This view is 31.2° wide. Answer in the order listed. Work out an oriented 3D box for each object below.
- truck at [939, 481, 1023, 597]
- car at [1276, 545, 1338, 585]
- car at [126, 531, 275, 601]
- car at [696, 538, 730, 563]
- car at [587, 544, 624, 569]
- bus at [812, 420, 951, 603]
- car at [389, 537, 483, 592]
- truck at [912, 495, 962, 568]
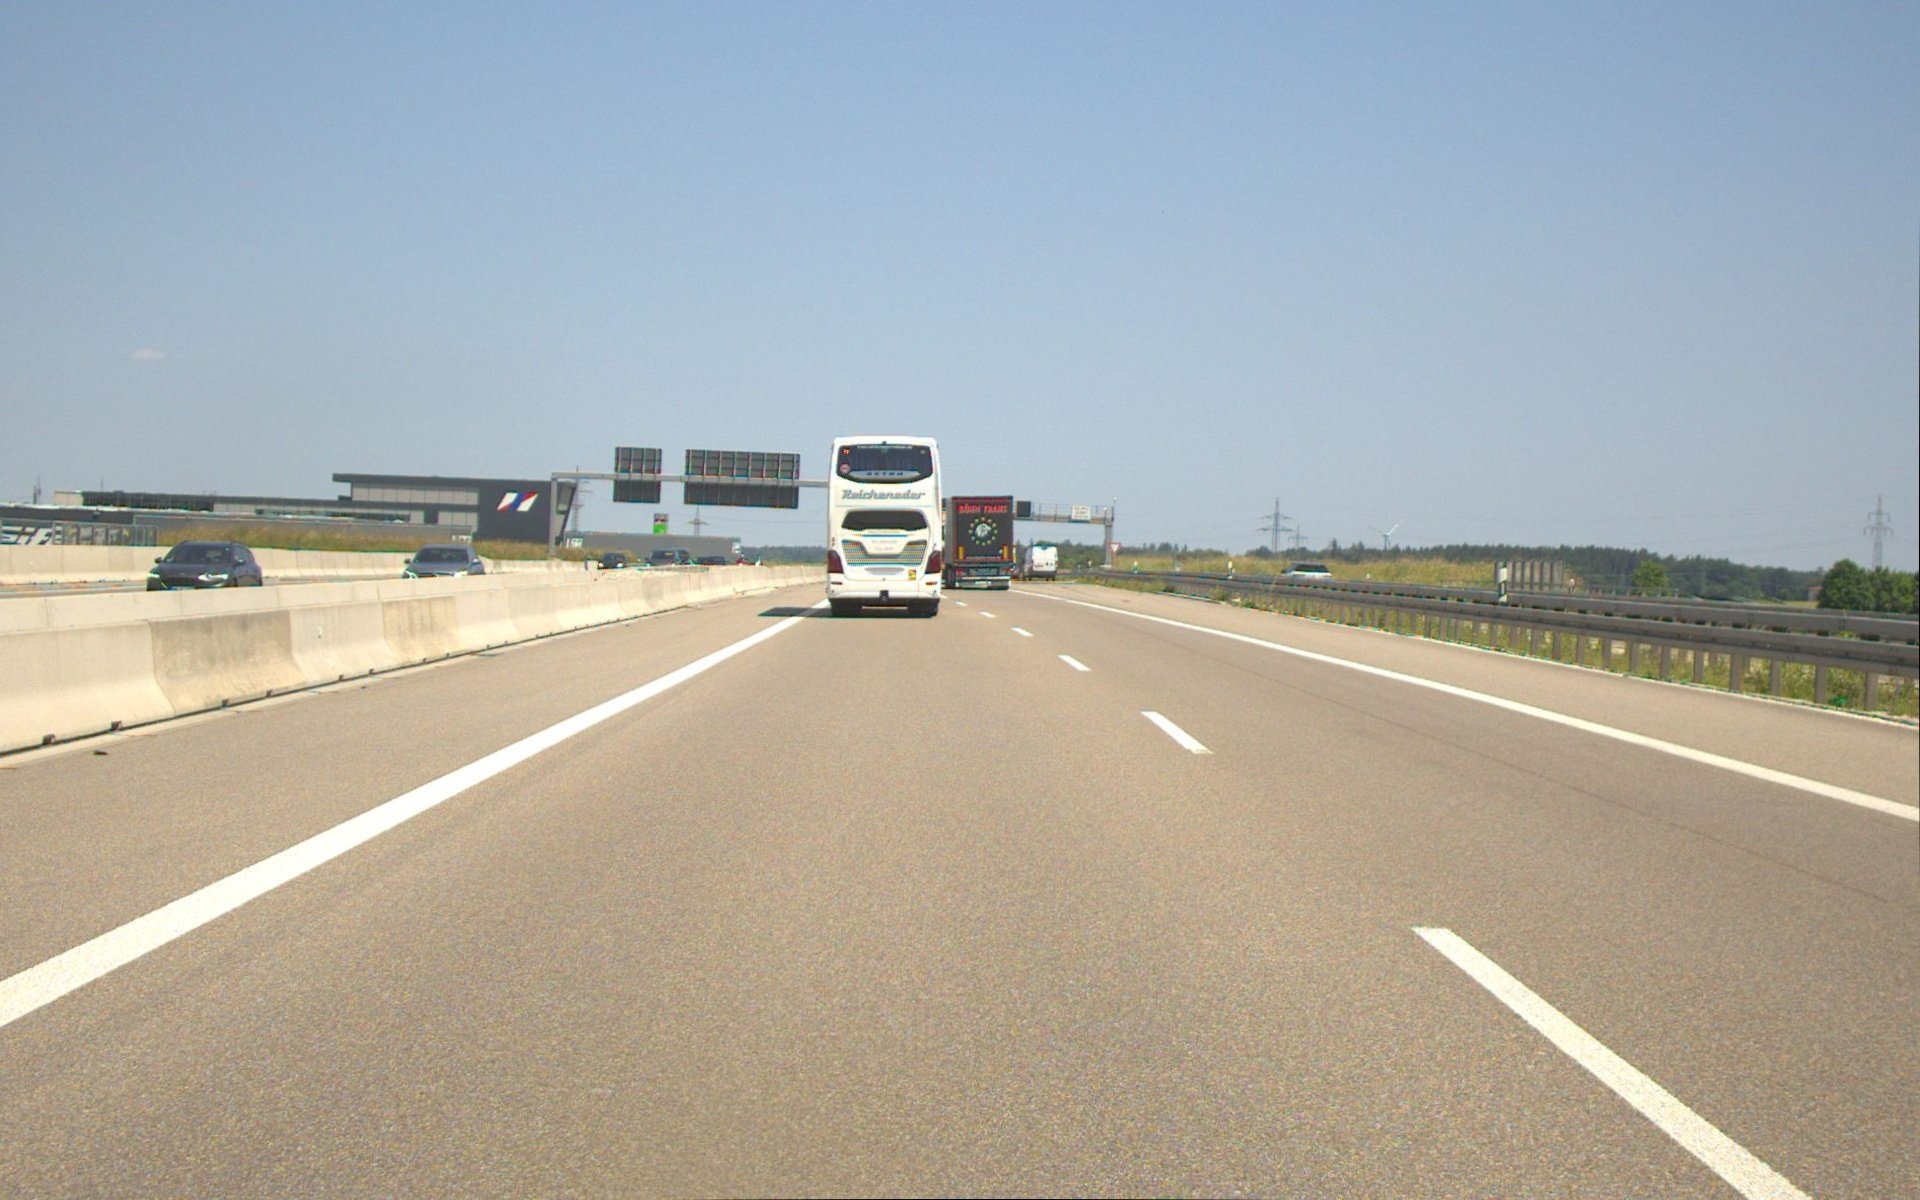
[{"bbox_3d":[0.995,-2.554,151.078,3.379,4.449,13.566,2,-1,1],"label":"truck"},{"bbox_3d":[13.927,-1.414,138.184,1.891,1.524,4.262,1,1,-3],"label":"car"},{"bbox_3d":[-16.342,-0.755,74.212,1.912,1.415,4.908,1,1,2],"label":"car"},{"bbox_3d":[-17.476,-3.501,243.270,1.993,1.663,4.649,1,1,1],"label":"car"},{"bbox_3d":[-21.562,-2.648,209.261,1.910,1.454,4.285,1,1,-2],"label":"car"},{"bbox_3d":[-1.884,-2.019,79.936,2.980,3.961,9.106,1,1,-2],"label":"bus"},{"bbox_3d":[-14.158,-0.971,93.063,1.842,1.415,4.525,1,1,0],"label":"car"},{"bbox_3d":[-1.229,-3.633,182.296,2.437,3.776,6.494,1,1,-2],"label":"truck"}]
